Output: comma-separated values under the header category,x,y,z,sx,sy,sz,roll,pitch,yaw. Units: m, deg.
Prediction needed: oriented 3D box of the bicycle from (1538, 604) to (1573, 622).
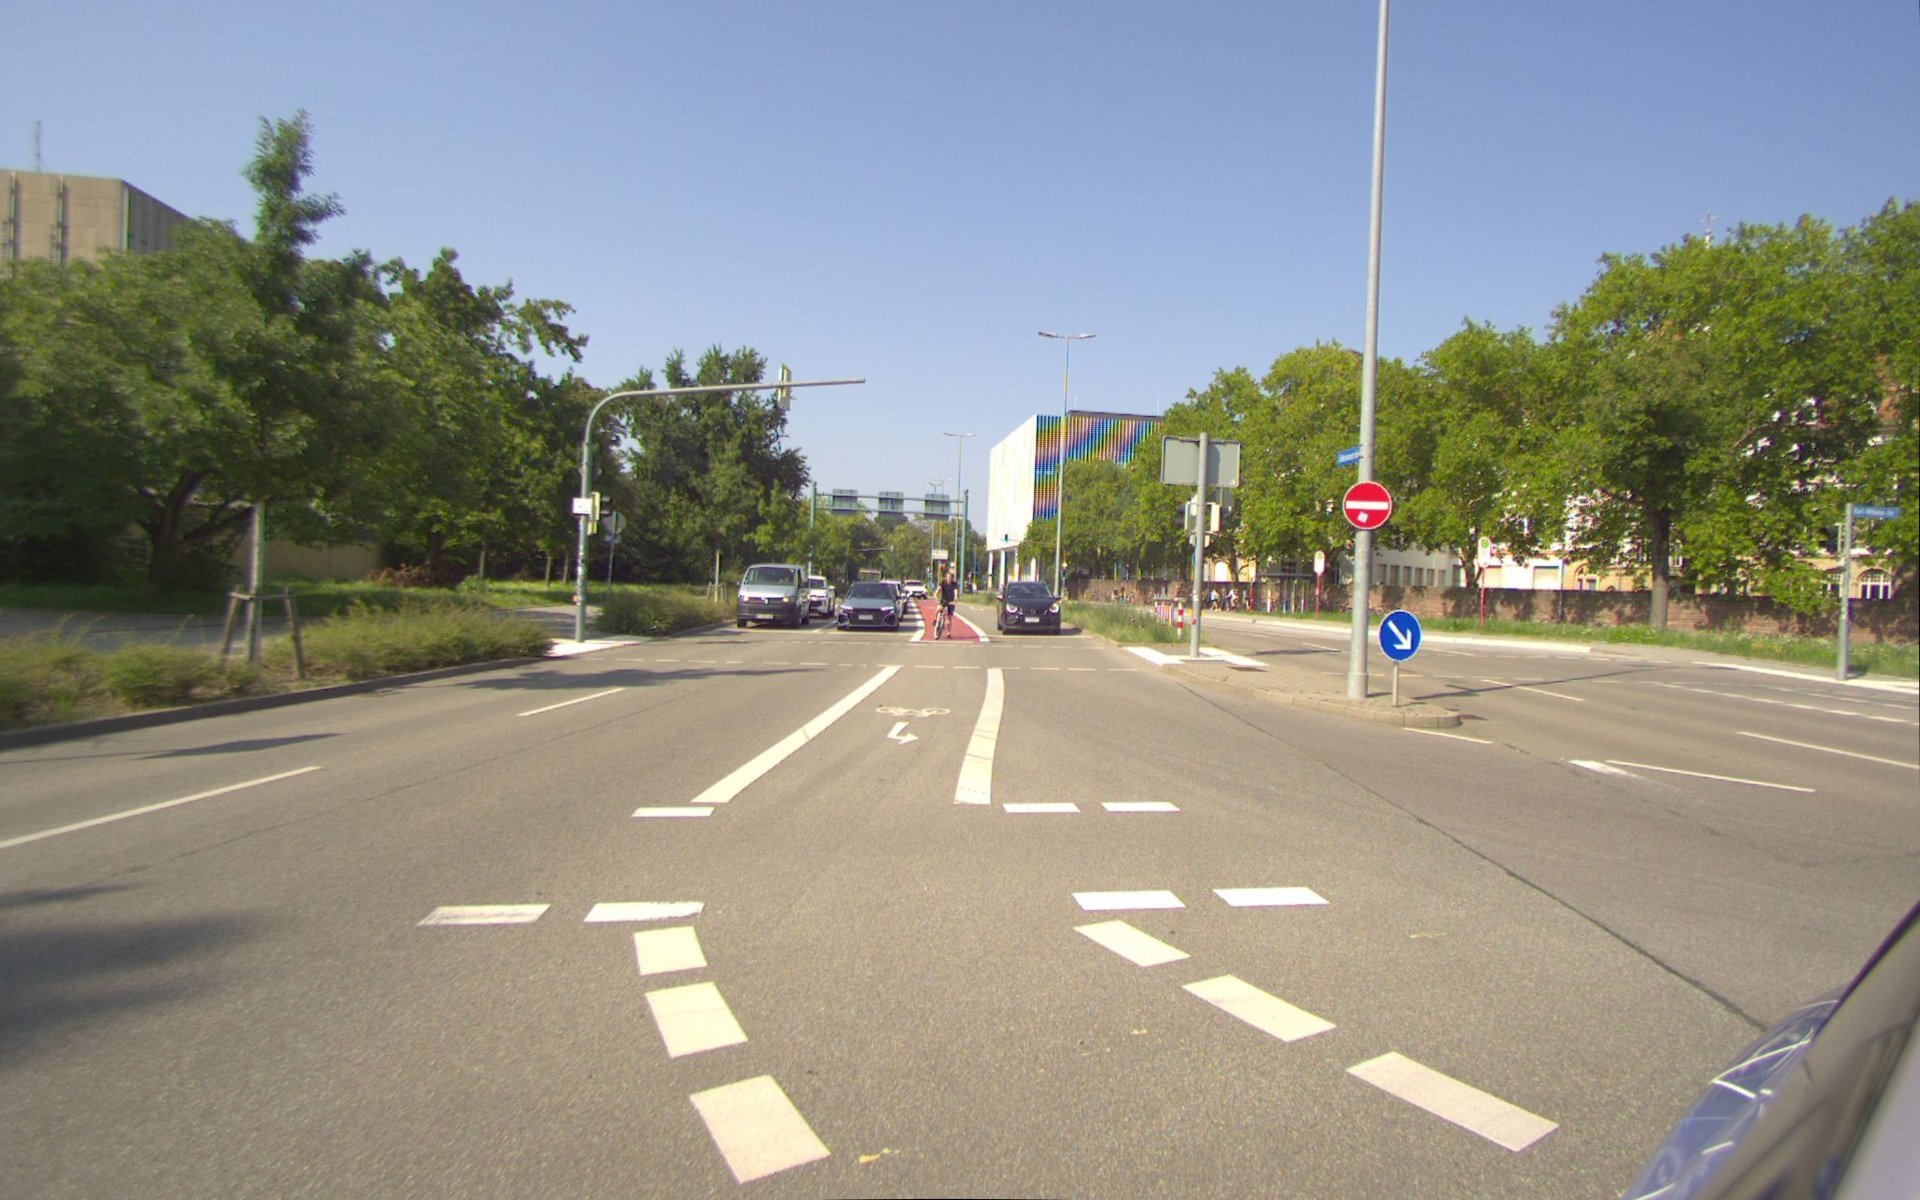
category,x,y,z,sx,sy,sz,roll,pitch,yaw
bicycle,31.478,0.689,53.523,0.425,0.846,1.552,2,1,-30

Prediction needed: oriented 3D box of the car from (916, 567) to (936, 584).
category,x,y,z,sx,sy,sz,roll,pitch,yaw
car,-4.545,-3.202,135.366,1.879,2.039,4.007,2,-1,-13

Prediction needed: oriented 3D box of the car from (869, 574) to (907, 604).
category,x,y,z,sx,sy,sz,roll,pitch,yaw
car,-4.045,-0.625,56.539,1.894,1.524,4.301,2,1,-6

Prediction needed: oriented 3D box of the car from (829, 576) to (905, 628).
category,x,y,z,sx,sy,sz,roll,pitch,yaw
car,-2.807,0.009,31.592,1.875,1.418,4.921,2,1,0

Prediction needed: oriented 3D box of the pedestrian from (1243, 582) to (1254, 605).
category,x,y,z,sx,sy,sz,roll,pitch,yaw
pedestrian,20.775,-0.454,72.903,0.473,1.673,0.595,3,-2,-23

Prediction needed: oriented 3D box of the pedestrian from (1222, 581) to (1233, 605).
category,x,y,z,sx,sy,sz,roll,pitch,yaw
pedestrian,19.474,-0.505,73.672,0.509,1.673,0.595,3,-2,-23

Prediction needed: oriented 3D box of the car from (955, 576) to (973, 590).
category,x,y,z,sx,sy,sz,roll,pitch,yaw
car,0.495,-2.175,127.203,1.677,1.593,4.007,2,1,-8

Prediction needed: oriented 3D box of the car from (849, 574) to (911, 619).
category,x,y,z,sx,sy,sz,roll,pitch,yaw
car,-2.937,-0.182,38.023,1.962,1.524,4.436,2,1,0

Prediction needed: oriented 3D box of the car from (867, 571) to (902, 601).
category,x,y,z,sx,sy,sz,roll,pitch,yaw
car,-4.676,-0.886,62.298,1.894,1.680,4.301,2,1,-6

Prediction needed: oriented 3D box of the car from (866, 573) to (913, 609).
category,x,y,z,sx,sy,sz,roll,pitch,yaw
car,-3.283,-0.447,47.874,1.962,1.524,4.296,2,1,-1

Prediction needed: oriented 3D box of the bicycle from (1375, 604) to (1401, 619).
category,x,y,z,sx,sy,sz,roll,pitch,yaw
bicycle,26.444,0.680,62.570,0.425,0.846,1.553,2,1,-28

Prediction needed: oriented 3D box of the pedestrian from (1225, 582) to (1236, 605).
category,x,y,z,sx,sy,sz,roll,pitch,yaw
pedestrian,20.171,-0.471,75.467,0.473,1.673,0.595,3,-2,-23

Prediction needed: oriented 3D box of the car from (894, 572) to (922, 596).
category,x,y,z,sx,sy,sz,roll,pitch,yaw
car,-4.035,-1.260,78.164,1.894,1.680,4.301,2,1,-6

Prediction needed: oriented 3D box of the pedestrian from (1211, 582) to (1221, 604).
category,x,y,z,sx,sy,sz,roll,pitch,yaw
pedestrian,18.943,-0.493,74.911,0.524,1.591,0.503,3,-2,-25

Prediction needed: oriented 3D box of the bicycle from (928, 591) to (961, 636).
category,x,y,z,sx,sy,sz,roll,pitch,yaw
bicycle,-0.427,0.338,26.665,0.755,1.065,1.776,2,2,-3

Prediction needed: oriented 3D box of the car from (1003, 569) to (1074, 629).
category,x,y,z,sx,sy,sz,roll,pitch,yaw
car,2.292,-0.073,30.620,1.819,1.598,4.713,2,1,1

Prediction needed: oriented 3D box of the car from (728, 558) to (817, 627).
category,x,y,z,sx,sy,sz,roll,pitch,yaw
car,-5.765,-0.274,31.651,1.812,1.898,4.974,2,1,0

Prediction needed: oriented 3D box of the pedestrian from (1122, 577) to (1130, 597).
category,x,y,z,sx,sy,sz,roll,pitch,yaw
pedestrian,14.486,-1.126,88.333,0.476,1.762,0.506,2,-2,-7

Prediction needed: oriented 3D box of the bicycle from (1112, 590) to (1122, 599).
category,x,y,z,sx,sy,sz,roll,pitch,yaw
bicycle,14.990,-0.532,96.824,0.425,0.846,1.553,2,1,-12

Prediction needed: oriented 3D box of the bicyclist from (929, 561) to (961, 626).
category,x,y,z,sx,sy,sz,roll,pitch,yaw
bicyclist,-0.406,-0.188,26.662,0.734,1.655,0.876,2,1,-3

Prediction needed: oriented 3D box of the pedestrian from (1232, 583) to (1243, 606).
category,x,y,z,sx,sy,sz,roll,pitch,yaw
pedestrian,19.873,-0.384,72.444,0.509,1.673,0.595,3,-2,-23

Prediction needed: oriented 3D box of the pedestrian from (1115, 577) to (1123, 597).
category,x,y,z,sx,sy,sz,roll,pitch,yaw
pedestrian,13.868,-1.149,88.355,0.476,1.762,0.506,2,-2,-7

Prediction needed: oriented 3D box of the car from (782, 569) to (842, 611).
category,x,y,z,sx,sy,sz,roll,pitch,yaw
car,-5.782,-0.423,39.966,1.776,1.524,3.969,2,1,0

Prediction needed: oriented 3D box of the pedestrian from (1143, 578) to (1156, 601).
category,x,y,z,sx,sy,sz,roll,pitch,yaw
pedestrian,16.759,-0.947,89.625,0.726,1.979,0.934,2,-2,-14

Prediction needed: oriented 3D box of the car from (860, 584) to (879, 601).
category,x,y,z,sx,sy,sz,roll,pitch,yaw
car,-9.806,-0.862,109.002,1.894,1.680,4.301,2,1,-6

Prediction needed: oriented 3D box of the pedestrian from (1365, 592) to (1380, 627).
category,x,y,z,sx,sy,sz,roll,pitch,yaw
pedestrian,25.613,0.593,62.845,0.509,2.132,0.595,3,-2,-23
